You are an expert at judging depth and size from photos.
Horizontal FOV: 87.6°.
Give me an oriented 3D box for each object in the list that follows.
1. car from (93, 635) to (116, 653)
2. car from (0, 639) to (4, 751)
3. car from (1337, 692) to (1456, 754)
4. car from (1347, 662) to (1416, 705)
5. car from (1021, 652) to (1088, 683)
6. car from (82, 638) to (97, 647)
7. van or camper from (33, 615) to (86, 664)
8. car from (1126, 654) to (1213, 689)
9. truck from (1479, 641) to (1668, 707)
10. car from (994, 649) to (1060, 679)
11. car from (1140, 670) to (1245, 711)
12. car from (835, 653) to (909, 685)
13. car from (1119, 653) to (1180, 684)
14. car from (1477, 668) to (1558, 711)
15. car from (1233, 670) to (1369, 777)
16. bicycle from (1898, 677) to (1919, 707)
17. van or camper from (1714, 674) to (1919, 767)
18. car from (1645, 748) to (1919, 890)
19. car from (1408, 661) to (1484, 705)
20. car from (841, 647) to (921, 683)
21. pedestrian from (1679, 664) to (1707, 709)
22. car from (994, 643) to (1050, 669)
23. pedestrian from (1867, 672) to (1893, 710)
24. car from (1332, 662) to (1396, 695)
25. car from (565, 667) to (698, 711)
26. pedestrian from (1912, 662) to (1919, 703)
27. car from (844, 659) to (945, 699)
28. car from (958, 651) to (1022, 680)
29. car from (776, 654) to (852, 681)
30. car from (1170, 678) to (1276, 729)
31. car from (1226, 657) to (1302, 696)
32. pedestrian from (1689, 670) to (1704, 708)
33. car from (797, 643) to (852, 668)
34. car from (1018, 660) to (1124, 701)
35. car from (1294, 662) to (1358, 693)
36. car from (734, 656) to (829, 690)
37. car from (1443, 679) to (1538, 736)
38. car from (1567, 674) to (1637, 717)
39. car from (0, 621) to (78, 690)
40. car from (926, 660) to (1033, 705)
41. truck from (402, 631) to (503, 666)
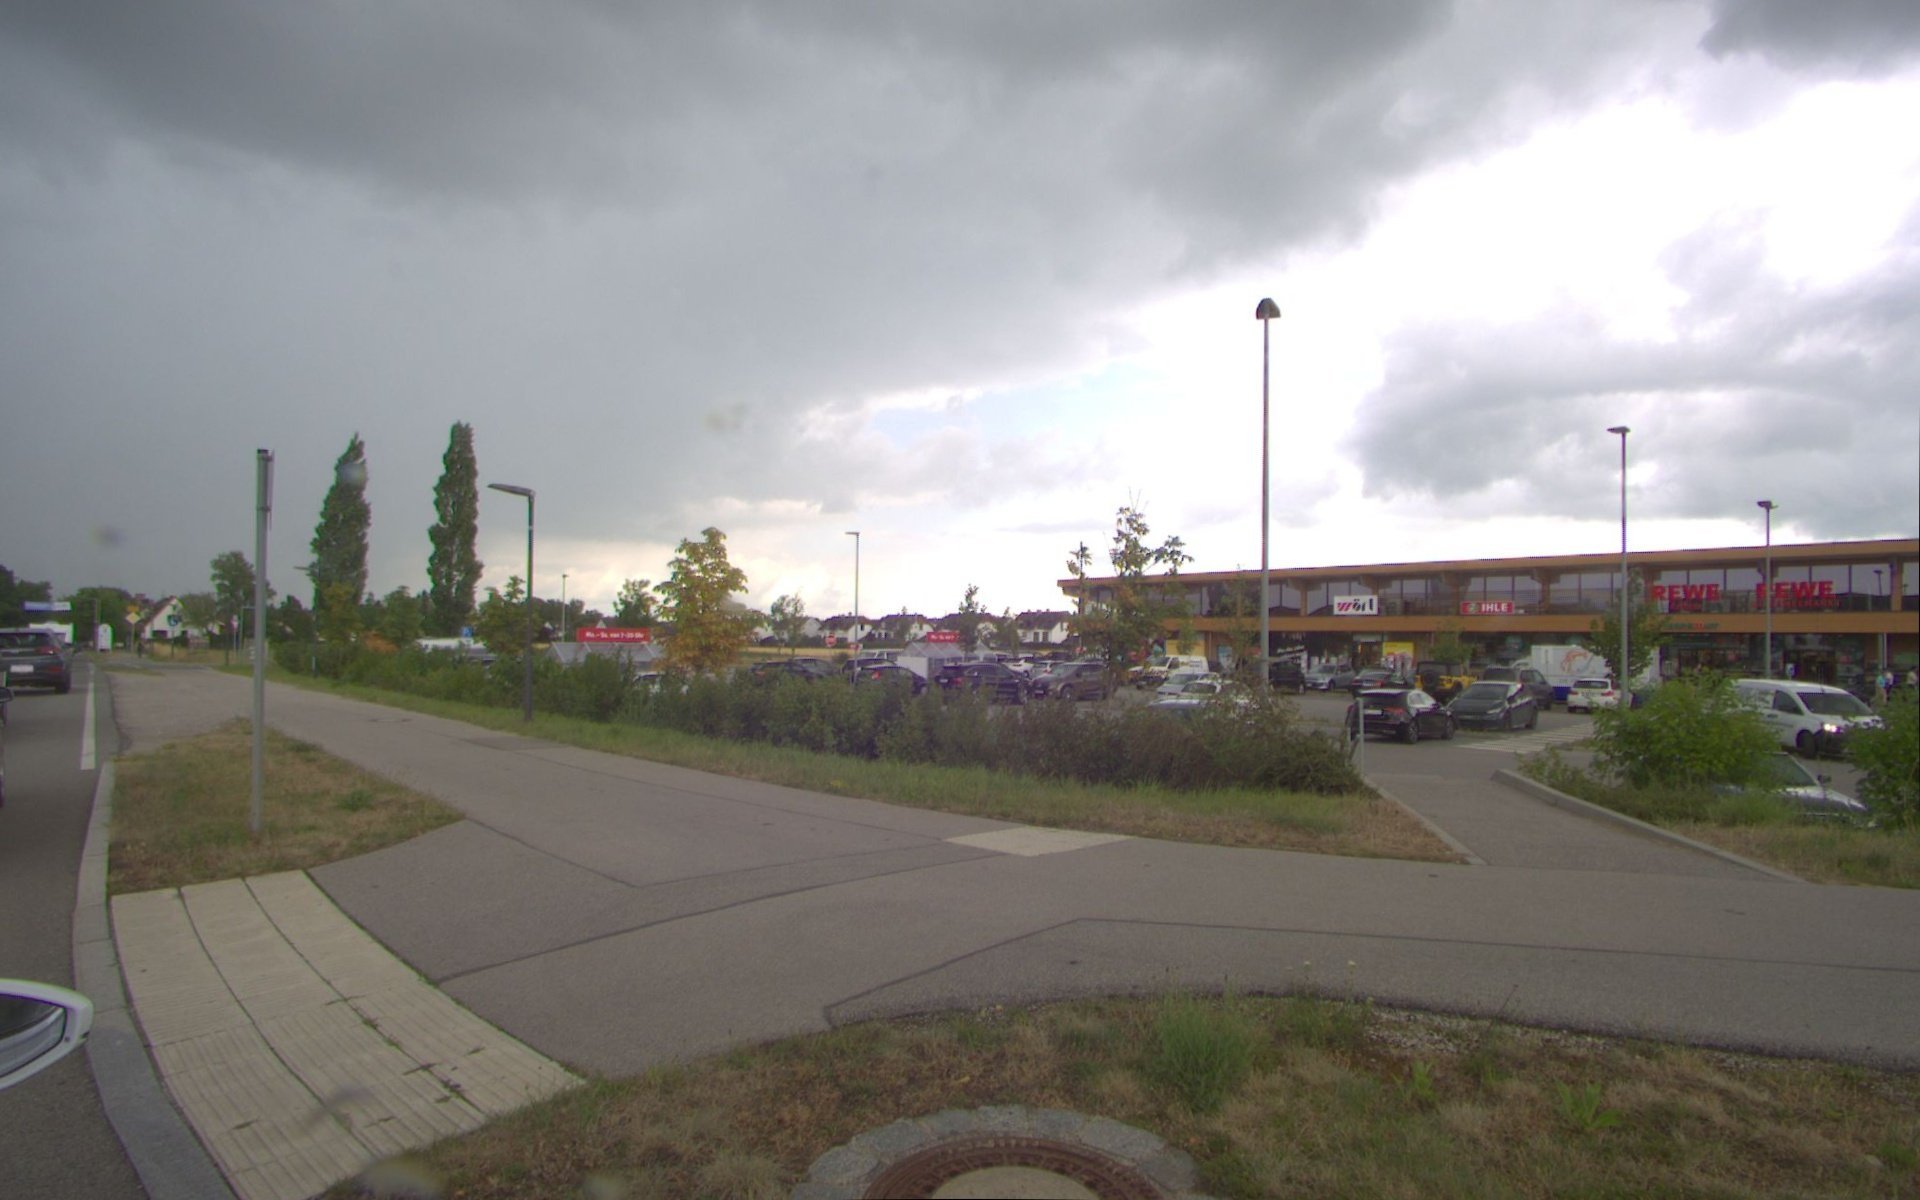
[{"bbox_3d":[-80.509,4.147,94.240,1.601,1.651,3.586,3,-3,-40],"label":"car"},{"bbox_3d":[-7.616,0.960,6.621,1.772,1.409,4.094,3,-3,-43],"label":"car"},{"bbox_3d":[12.250,3.367,27.977,1.817,1.415,3.965,-1,-3,44],"label":"car"},{"bbox_3d":[20.097,3.925,47.667,1.754,1.878,3.965,-1,-3,44],"label":"car"},{"bbox_3d":[5.954,4.220,62.843,3.956,1.860,1.985,3,-4,-39],"label":"car"},{"bbox_3d":[-125.862,6.101,144.763,1.601,1.288,3.432,3,-3,-40],"label":"car"},{"bbox_3d":[-64.774,2.905,72.111,2.607,3.364,6.763,3,-4,-41],"label":"van or camper"},{"bbox_3d":[11.696,3.950,55.675,5.250,1.853,1.983,4,-4,-42],"label":"car"},{"bbox_3d":[28.915,3.386,47.409,7.183,2.842,2.951,-2,-3,44],"label":"truck"},{"bbox_3d":[4.370,4.130,64.980,3.954,1.861,1.985,2,-3,-38],"label":"car"},{"bbox_3d":[9.672,3.706,41.488,4.741,1.503,1.887,3,-3,-42],"label":"car"},{"bbox_3d":[-4.946,3.893,56.450,3.960,1.727,1.701,3,-4,-42],"label":"car"},{"bbox_3d":[12.224,4.406,64.501,4.076,1.917,1.781,4,-4,-43],"label":"car"},{"bbox_3d":[23.780,3.787,42.668,4.080,1.746,1.836,4,-5,-43],"label":"car"},{"bbox_3d":[4.652,1.654,14.037,1.550,1.221,3.756,1,-4,15],"label":"car"},{"bbox_3d":[44.661,4.237,45.535,0.970,1.325,2.844,2,-3,-42],"label":"bicycle"},{"bbox_3d":[21.995,3.038,25.950,1.731,2.123,4.811,1,-5,7],"label":"van or camper"},{"bbox_3d":[11.640,3.017,14.443,1.551,1.389,3.733,0,-3,11],"label":"car"},{"bbox_3d":[22.071,3.735,45.426,3.960,1.877,1.757,3,-4,-42],"label":"car"},{"bbox_3d":[-4.777,3.967,61.581,1.975,2.039,5.090,0,-2,38],"label":"car"},{"bbox_3d":[33.866,3.970,46.262,0.922,2.039,0.799,-1,-2,43],"label":"pedestrian"},{"bbox_3d":[4.602,4.134,74.058,3.954,1.863,1.861,2,-3,-38],"label":"car"},{"bbox_3d":[41.891,4.133,45.582,0.743,1.678,0.798,2,-2,-43],"label":"pedestrian"},{"bbox_3d":[21.746,4.185,53.842,3.858,1.674,1.751,4,-4,-44],"label":"car"},{"bbox_3d":[-12.038,3.214,36.832,4.203,1.458,1.983,3,-3,-41],"label":"car"},{"bbox_3d":[45.344,3.877,47.034,0.919,1.921,0.787,-1,-5,44],"label":"pedestrian"},{"bbox_3d":[-2.982,3.610,46.153,4.373,1.685,1.983,3,-3,-42],"label":"car"},{"bbox_3d":[2.013,4.355,66.876,3.955,1.860,1.985,3,-3,-38],"label":"car"},{"bbox_3d":[-8.860,4.082,60.876,4.280,1.597,1.753,3,-3,-40],"label":"car"},{"bbox_3d":[8.643,3.318,32.721,1.665,1.503,3.962,-2,-4,44],"label":"car"},{"bbox_3d":[15.798,3.981,51.900,3.962,1.859,1.983,6,-5,-42],"label":"car"},{"bbox_3d":[38.321,4.625,52.082,0.573,1.973,0.520,2,-2,-42],"label":"pedestrian"},{"bbox_3d":[-11.232,4.633,83.127,3.956,1.859,1.985,6,-5,-38],"label":"car"},{"bbox_3d":[5.079,3.598,45.369,4.940,1.685,1.982,3,-3,-42],"label":"car"},{"bbox_3d":[20.264,4.273,55.407,1.750,1.632,4.188,-2,-4,45],"label":"car"},{"bbox_3d":[-9.304,3.783,52.371,4.525,1.685,1.983,3,-3,-42],"label":"car"},{"bbox_3d":[16.918,3.356,31.856,1.713,1.572,3.967,-1,-3,43],"label":"car"},{"bbox_3d":[26.058,3.823,40.585,1.713,1.549,3.967,-1,-3,43],"label":"car"},{"bbox_3d":[-23.646,1.377,25.488,1.764,1.638,3.965,2,-3,-41],"label":"car"},{"bbox_3d":[0.865,3.388,41.441,4.421,1.727,1.788,4,-4,-42],"label":"car"},{"bbox_3d":[-28.958,2.814,57.253,1.980,1.895,4.770,-2,-4,44],"label":"truck"}]
